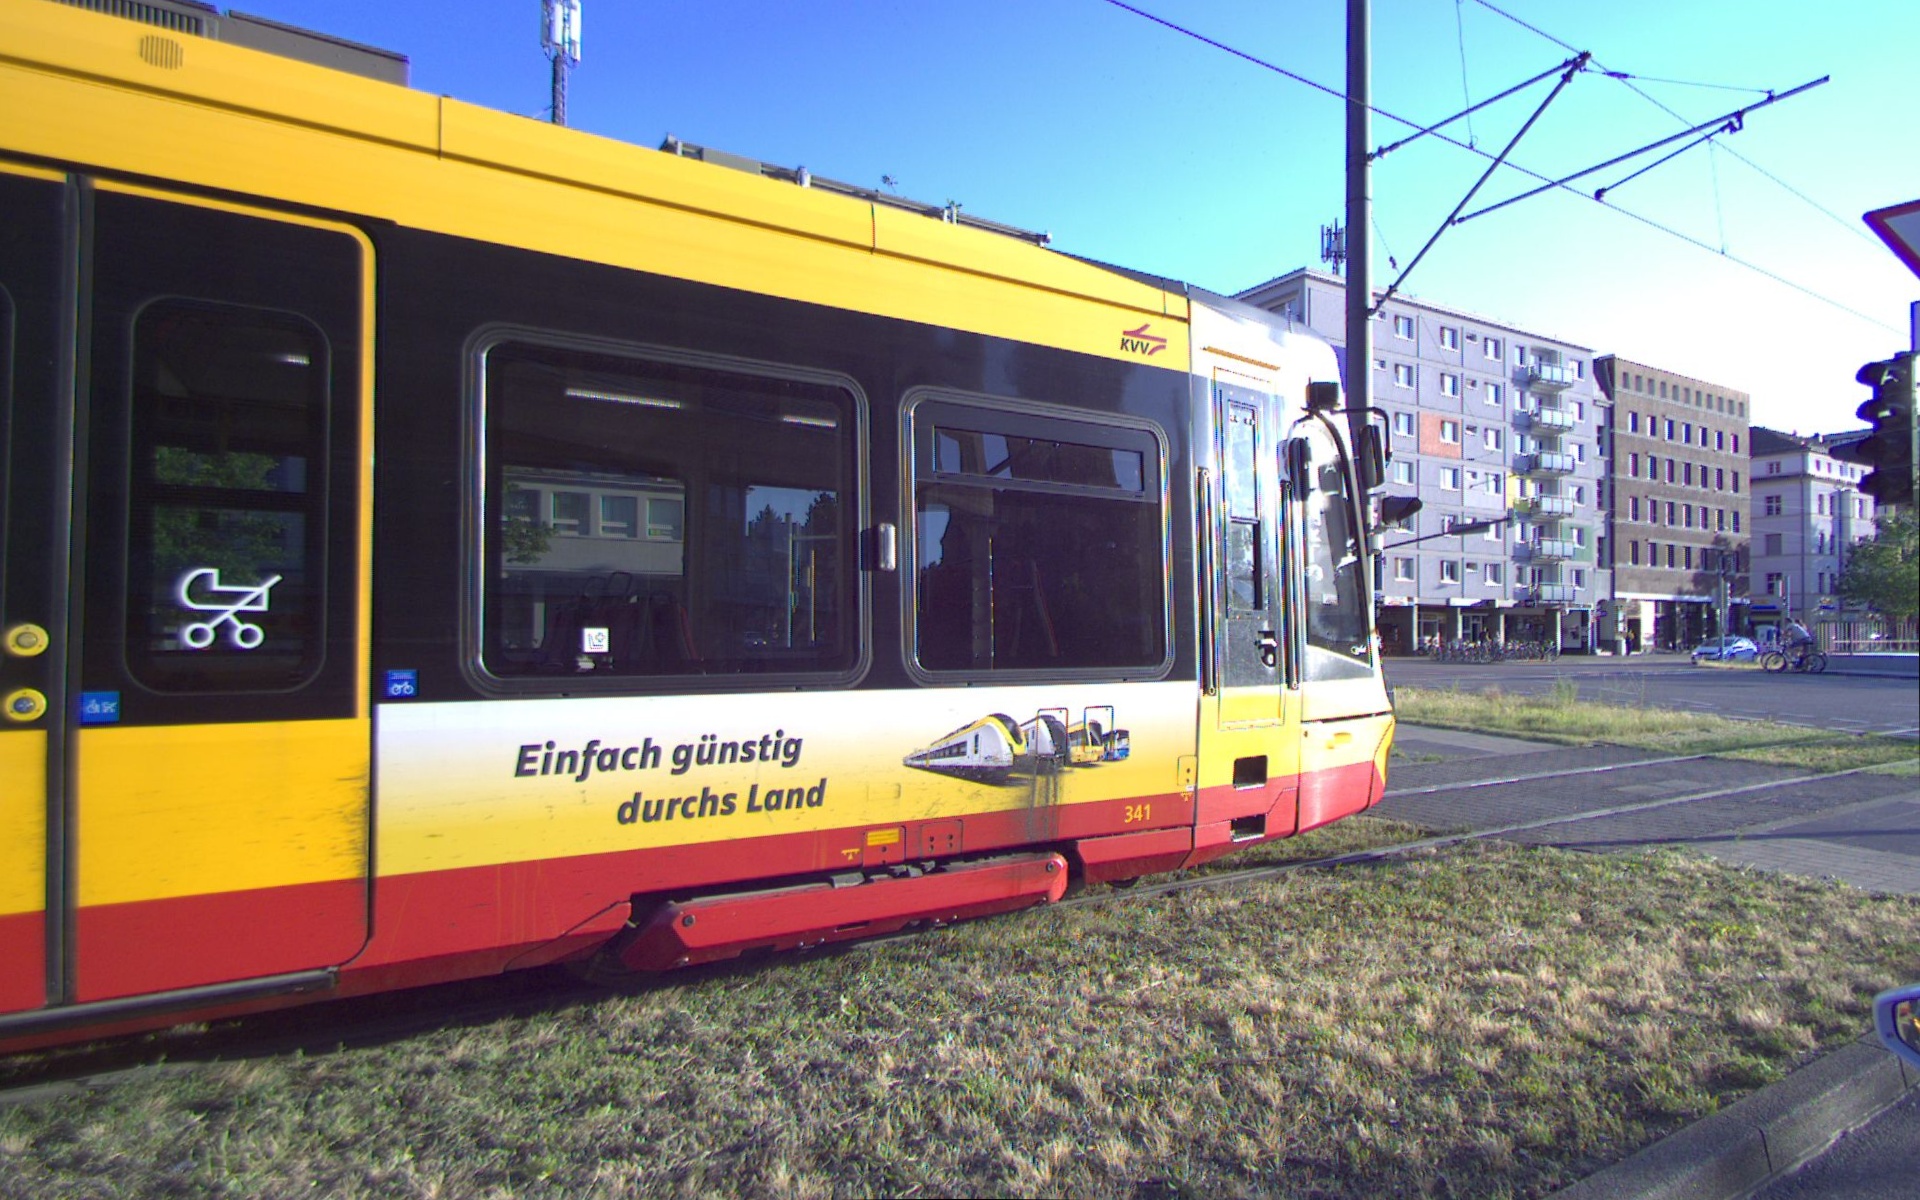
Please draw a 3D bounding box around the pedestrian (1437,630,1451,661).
[{"bbox_3d":[26.797,2.510,55.609,0.572,1.706,0.544,-1,-2,40],"label":"pedestrian"}]

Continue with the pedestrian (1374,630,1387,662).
[{"bbox_3d":[21.595,2.349,51.556,0.563,1.641,0.602,0,-1,29],"label":"pedestrian"}]

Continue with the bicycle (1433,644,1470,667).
[{"bbox_3d":[26.660,3.007,54.529,0.601,1.157,1.768,1,-2,-29],"label":"bicycle"}]

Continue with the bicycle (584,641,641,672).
[{"bbox_3d":[-12.572,2.040,36.334,1.885,1.089,0.465,1,-1,-31],"label":"bicycle"}]

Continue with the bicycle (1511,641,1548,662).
[{"bbox_3d":[32.043,2.915,56.528,0.561,1.134,1.753,1,-2,-29],"label":"bicycle"}]

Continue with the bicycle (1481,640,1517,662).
[{"bbox_3d":[30.149,2.866,56.226,0.598,1.174,1.768,1,-2,-29],"label":"bicycle"}]

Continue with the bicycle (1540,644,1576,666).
[{"bbox_3d":[34.481,3.164,57.949,0.739,1.185,1.684,1,-2,-28],"label":"bicycle"}]

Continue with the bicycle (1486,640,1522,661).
[{"bbox_3d":[30.672,2.852,56.636,0.598,1.151,1.763,1,-2,-29],"label":"bicycle"}]

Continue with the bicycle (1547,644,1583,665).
[{"bbox_3d":[35.118,3.136,58.293,0.688,1.159,1.684,1,-2,-27],"label":"bicycle"}]

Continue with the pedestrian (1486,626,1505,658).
[{"bbox_3d":[32.276,2.527,60.520,0.728,1.866,0.780,1,-2,-38],"label":"pedestrian"}]

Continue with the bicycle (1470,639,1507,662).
[{"bbox_3d":[28.707,2.745,54.588,0.561,1.197,1.761,1,-2,-29],"label":"bicycle"}]

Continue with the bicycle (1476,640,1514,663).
[{"bbox_3d":[29.247,2.793,54.931,0.644,1.206,1.780,1,-2,-30],"label":"bicycle"}]

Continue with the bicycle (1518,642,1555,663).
[{"bbox_3d":[32.606,2.941,56.818,0.626,1.139,1.720,2,-2,-28],"label":"bicycle"}]

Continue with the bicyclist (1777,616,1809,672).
[{"bbox_3d":[27.813,1.449,33.540,0.784,1.842,0.642,-1,-2,44],"label":"bicyclist"}]

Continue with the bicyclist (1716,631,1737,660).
[{"bbox_3d":[47.119,2.787,61.758,0.779,1.765,0.701,1,-1,-19],"label":"bicyclist"}]

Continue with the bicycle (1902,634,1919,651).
[{"bbox_3d":[72.765,3.237,76.499,2.382,1.217,0.809,1,-2,-28],"label":"bicycle"}]

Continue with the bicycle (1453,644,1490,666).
[{"bbox_3d":[27.593,2.959,54.198,0.592,1.154,1.749,1,-2,-29],"label":"bicycle"}]

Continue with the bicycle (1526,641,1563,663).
[{"bbox_3d":[33.217,2.937,57.104,0.696,1.168,1.684,1,-2,-28],"label":"bicycle"}]

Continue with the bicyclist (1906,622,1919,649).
[{"bbox_3d":[72.697,2.683,76.441,0.912,2.040,0.794,1,-1,-28],"label":"bicyclist"}]

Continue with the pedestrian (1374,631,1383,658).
[{"bbox_3d":[21.722,2.321,52.117,0.376,1.401,0.394,0,-1,32],"label":"pedestrian"}]

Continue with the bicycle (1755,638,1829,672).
[{"bbox_3d":[27.782,1.824,33.559,1.881,1.089,0.628,-1,-2,44],"label":"bicycle"}]

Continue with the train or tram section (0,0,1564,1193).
[{"bbox_3d":[-2.688,-0.325,4.173,13.059,3.788,2.896,1,-1,-30],"label":"train or tram section"}]

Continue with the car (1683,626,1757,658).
[{"bbox_3d":[40.320,2.240,53.253,3.952,1.639,1.682,1,-2,-29],"label":"car"}]

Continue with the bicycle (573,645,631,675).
[{"bbox_3d":[-13.339,2.236,37.449,1.972,1.089,0.465,1,-1,-31],"label":"bicycle"}]

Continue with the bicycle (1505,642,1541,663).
[{"bbox_3d":[31.535,2.907,56.250,0.545,1.132,1.747,1,-2,-29],"label":"bicycle"}]

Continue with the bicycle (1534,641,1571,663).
[{"bbox_3d":[33.872,2.947,57.467,0.739,1.194,1.684,1,-2,-28],"label":"bicycle"}]

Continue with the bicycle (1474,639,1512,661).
[{"bbox_3d":[29.632,2.768,55.840,0.632,1.176,1.823,1,-2,-29],"label":"bicycle"}]

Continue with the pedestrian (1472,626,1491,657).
[{"bbox_3d":[31.915,2.541,61.475,0.715,1.837,0.820,1,0,-40],"label":"pedestrian"}]

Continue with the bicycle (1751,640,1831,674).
[{"bbox_3d":[29.007,1.978,35.083,2.141,1.098,0.535,0,-1,44],"label":"bicycle"}]

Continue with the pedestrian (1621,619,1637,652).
[{"bbox_3d":[45.617,2.409,68.465,0.783,2.207,0.599,1,-1,-30],"label":"pedestrian"}]

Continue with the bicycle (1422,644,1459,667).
[{"bbox_3d":[25.782,2.968,53.938,0.631,1.224,1.786,1,-2,-30],"label":"bicycle"}]

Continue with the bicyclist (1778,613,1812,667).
[{"bbox_3d":[29.106,1.396,35.002,0.867,1.842,0.535,-1,-2,44],"label":"bicyclist"}]
